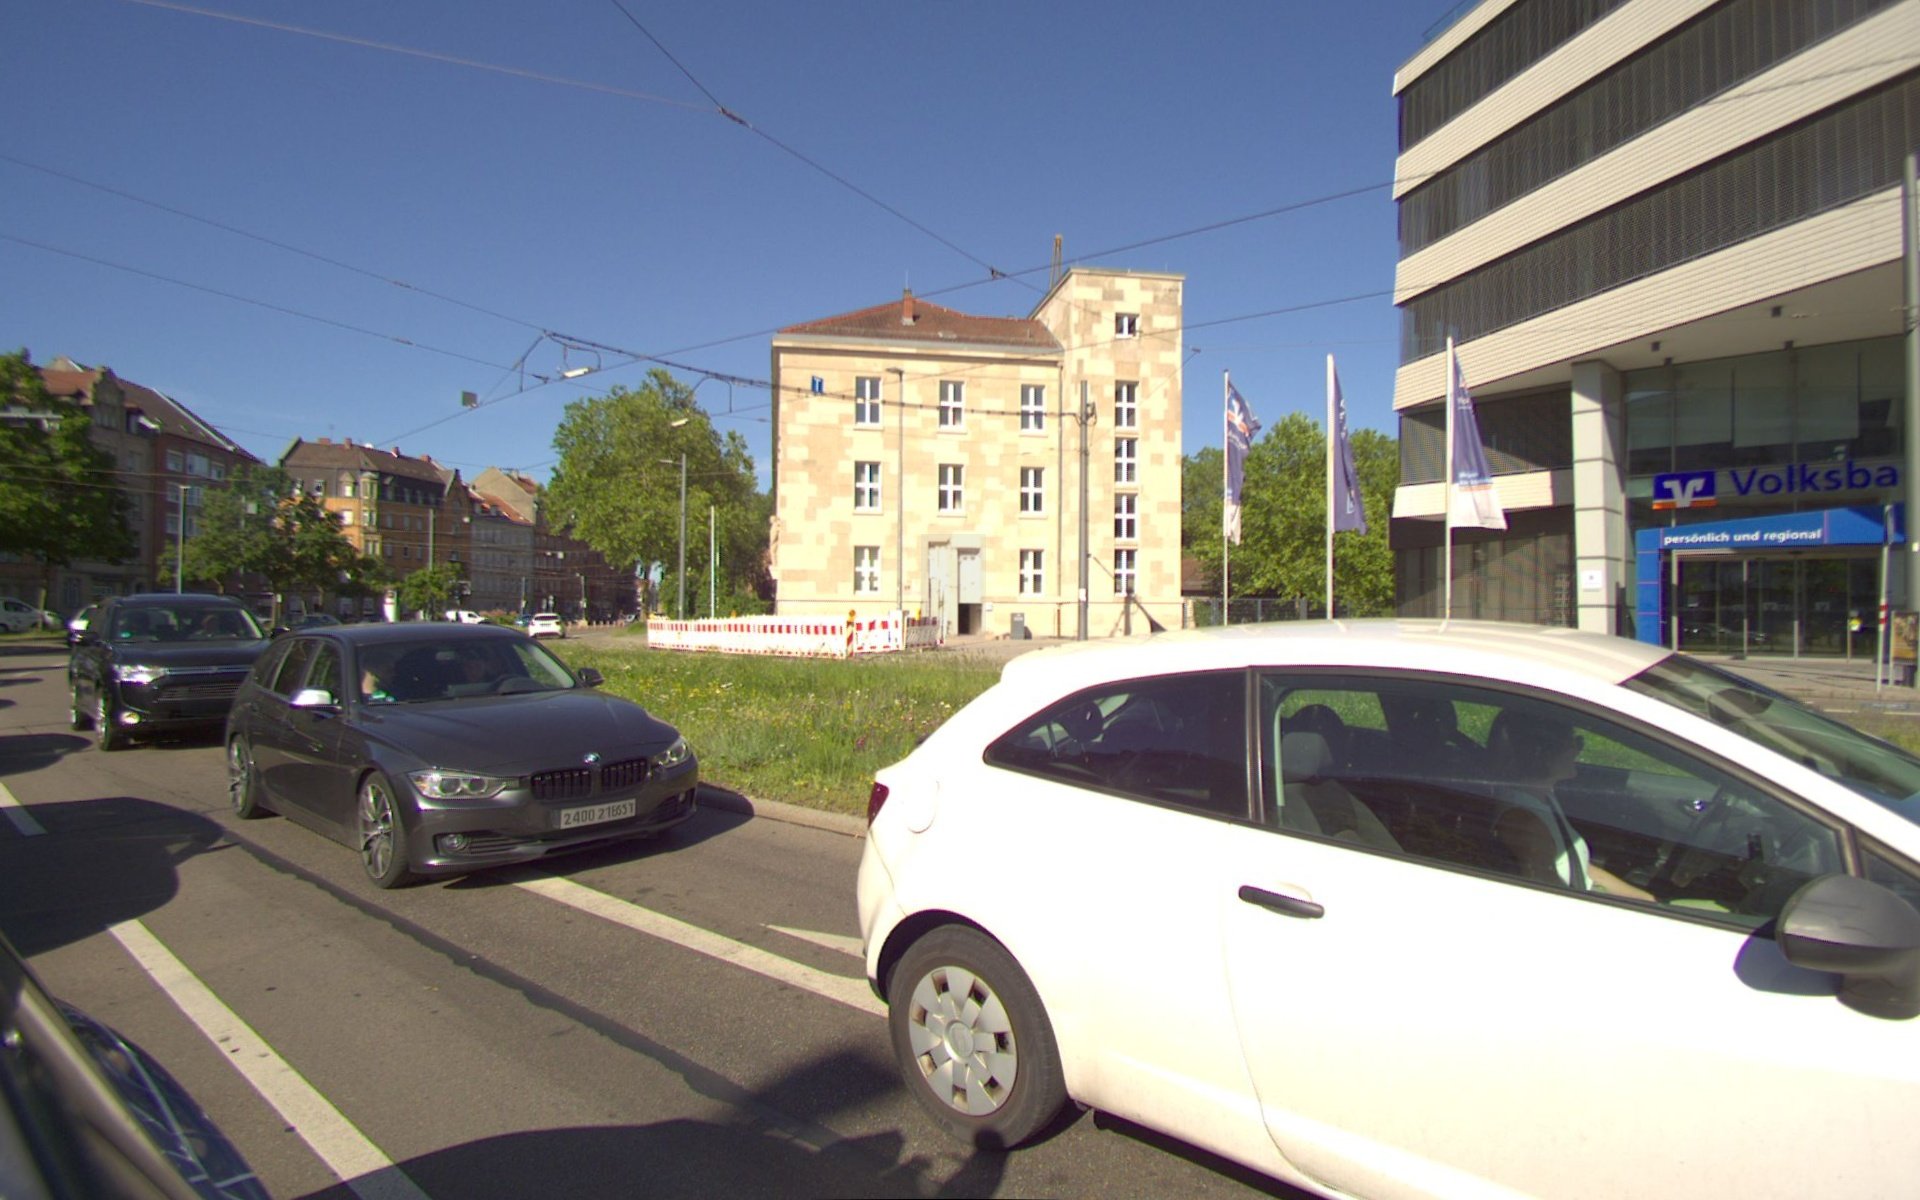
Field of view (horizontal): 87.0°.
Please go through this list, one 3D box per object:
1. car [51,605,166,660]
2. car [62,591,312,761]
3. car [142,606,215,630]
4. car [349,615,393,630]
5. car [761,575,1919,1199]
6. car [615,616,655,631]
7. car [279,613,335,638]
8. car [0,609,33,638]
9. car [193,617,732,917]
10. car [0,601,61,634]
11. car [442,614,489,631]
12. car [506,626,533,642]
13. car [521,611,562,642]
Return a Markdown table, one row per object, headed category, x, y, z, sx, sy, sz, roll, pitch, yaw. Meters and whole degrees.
| category | x | y | z | sx | sy | sz | roll | pitch | yaw |
| --- | --- | --- | --- | --- | --- | --- | --- | --- | --- |
| car | -34.686 | 1.304 | 41.405 | 1.949 | 2.101 | 4.728 | 1 | -1 | -19 |
| car | -9.380 | 0.774 | 12.131 | 1.817 | 1.658 | 4.400 | -1 | -1 | -45 |
| car | -53.932 | 1.276 | 69.874 | 3.771 | 1.603 | 1.601 | 2 | -2 | -44 |
| car | -67.006 | 2.533 | 115.218 | 4.001 | 1.669 | 1.772 | 1 | -1 | -16 |
| car | 1.481 | 0.696 | 2.481 | 4.020 | 1.452 | 1.714 | 0 | 2 | 40 |
| car | -37.597 | 2.701 | 117.127 | 4.004 | 1.669 | 1.770 | 2 | -2 | -37 |
| car | -40.800 | 1.591 | 63.328 | 1.809 | 1.483 | 4.728 | 1 | -1 | -19 |
| car | -48.765 | 1.153 | 50.386 | 3.768 | 1.390 | 1.602 | 2 | -2 | -41 |
| car | -3.598 | 0.828 | 6.880 | 4.424 | 1.377 | 1.719 | -1 | 0 | 41 |
| car | -49.930 | 0.893 | 52.792 | 4.514 | 1.680 | 1.601 | 2 | -2 | -43 |
| car | -56.526 | 2.556 | 115.826 | 4.513 | 1.889 | 2.006 | -1 | 0 | -16 |
| car | -48.971 | 3.806 | 112.591 | 1.811 | 1.659 | 4.157 | 1 | -1 | -10 |
| car | -23.467 | 1.462 | 56.699 | 1.794 | 1.658 | 4.195 | 0 | -1 | -27 |
